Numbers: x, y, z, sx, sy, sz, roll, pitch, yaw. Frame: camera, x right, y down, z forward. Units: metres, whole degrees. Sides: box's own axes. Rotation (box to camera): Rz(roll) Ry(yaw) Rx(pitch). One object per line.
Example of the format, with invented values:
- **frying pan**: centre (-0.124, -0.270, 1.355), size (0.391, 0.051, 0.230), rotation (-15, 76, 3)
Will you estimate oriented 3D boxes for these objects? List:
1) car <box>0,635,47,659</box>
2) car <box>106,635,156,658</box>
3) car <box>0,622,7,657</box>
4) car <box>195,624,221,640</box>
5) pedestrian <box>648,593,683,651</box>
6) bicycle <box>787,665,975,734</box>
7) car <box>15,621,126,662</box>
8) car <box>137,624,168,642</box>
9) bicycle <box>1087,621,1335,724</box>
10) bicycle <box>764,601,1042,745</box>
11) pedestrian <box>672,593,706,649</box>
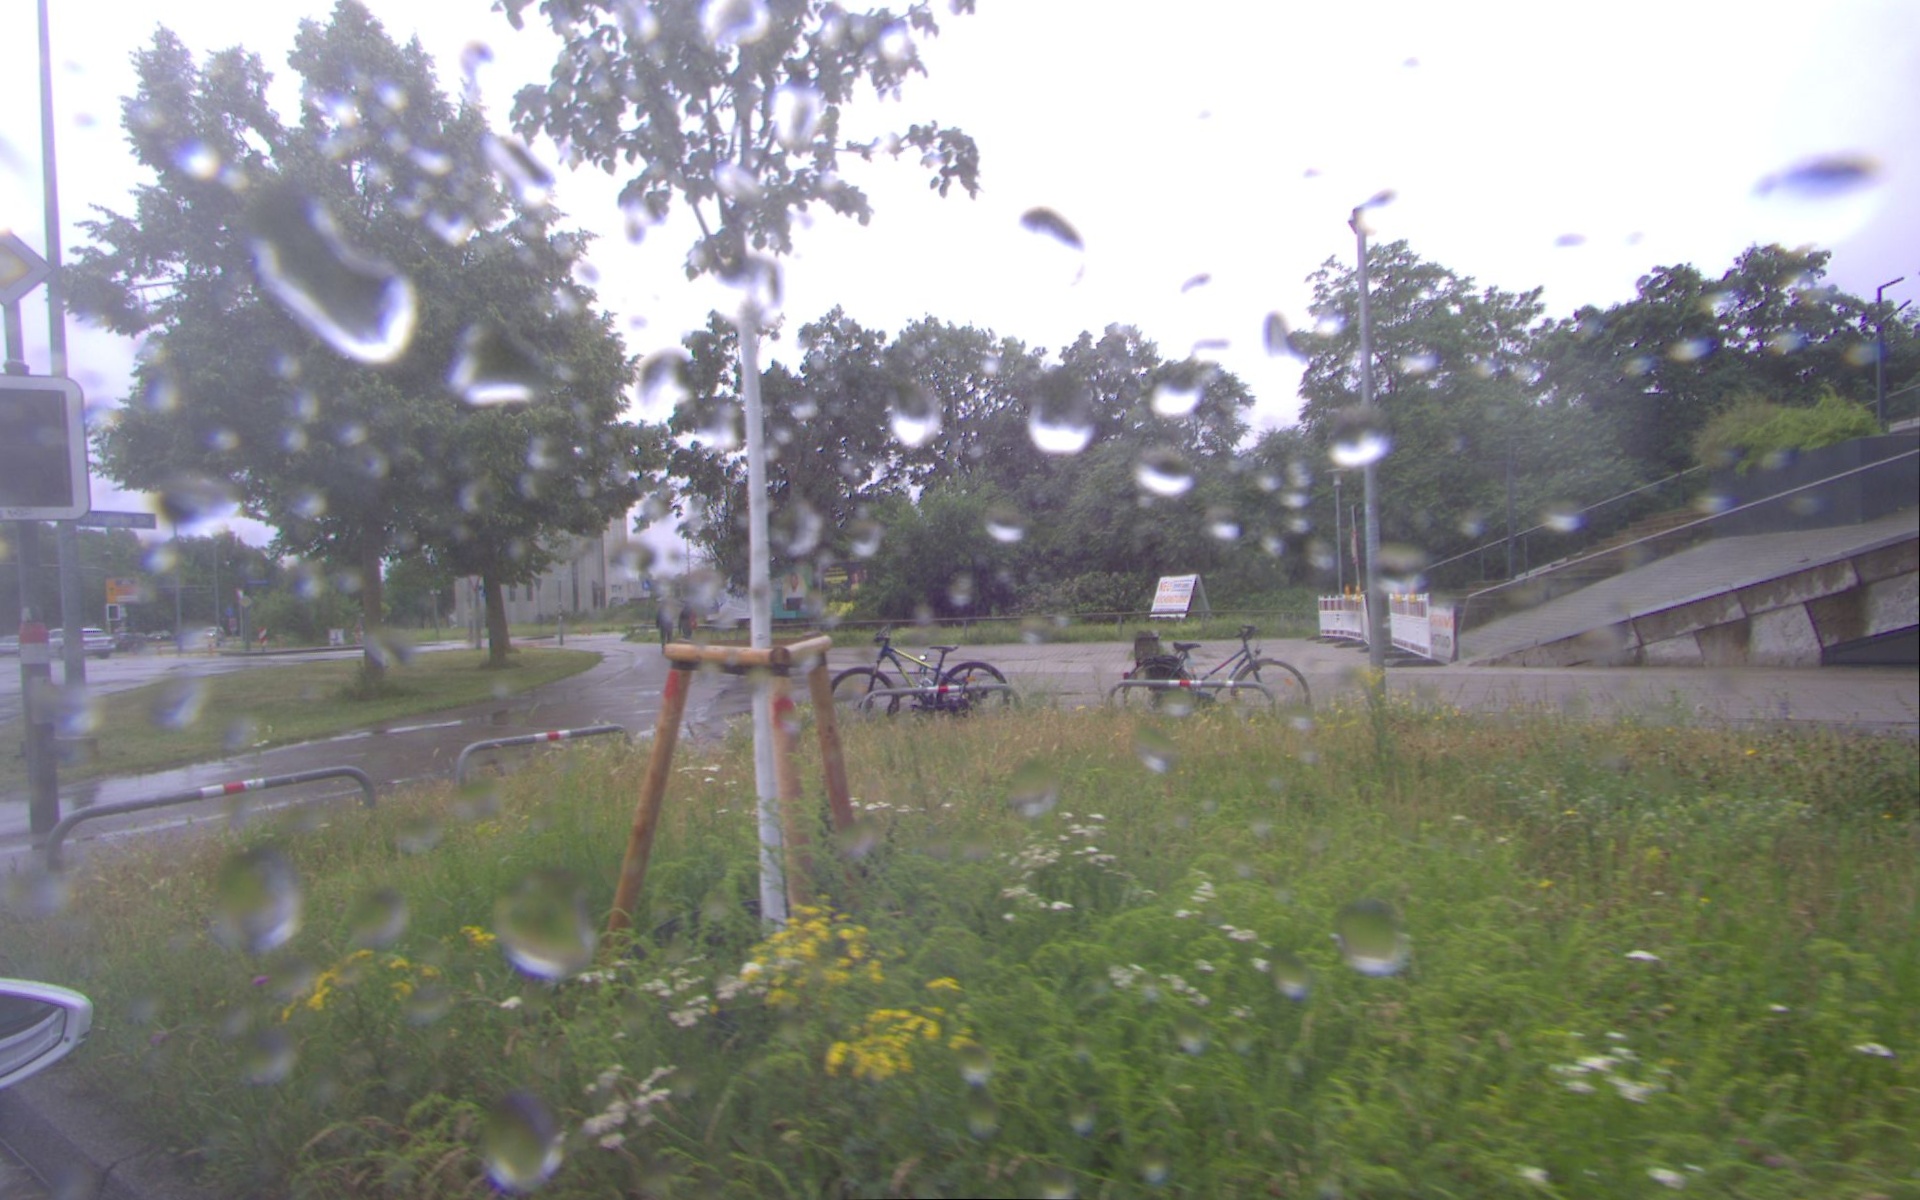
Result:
- **car**: centre (-65.130, 3.215, 69.553), size (1.668, 1.511, 3.237), rotation (-1, 0, -26)
- **car**: centre (-58.672, 3.260, 70.885), size (1.665, 1.511, 3.243), rotation (-1, 0, -20)
- **car**: centre (-57.178, 2.307, 57.982), size (1.761, 2.061, 3.986), rotation (0, -2, -26)
- **car**: centre (-99.204, 4.200, 132.096), size (1.763, 2.039, 3.666), rotation (0, -2, -20)
- **pedestrian**: centre (-9.248, 0.696, 31.482), size (0.906, 1.807, 0.808), rotation (0, -1, -3)
- **bicycle**: centre (-0.748, 0.946, 9.643), size (1.771, 0.566, 0.320), rotation (-1, 0, -17)
- **car**: centre (-41.920, 1.978, 47.208), size (4.752, 1.833, 1.787), rotation (-1, -2, 19)
- **car**: centre (-94.911, 3.912, 117.741), size (1.763, 2.039, 3.666), rotation (0, -2, -20)
- **bicycle**: centre (2.292, 0.641, 9.256), size (2.131, 0.858, 0.633), rotation (-1, 0, 30)
- **bicycle**: centre (-0.513, 0.632, 9.246), size (2.480, 1.205, 0.552), rotation (-1, 0, -17)
- **pedestrian**: centre (-8.841, 0.685, 32.671), size (0.906, 1.807, 0.808), rotation (0, -1, -3)
